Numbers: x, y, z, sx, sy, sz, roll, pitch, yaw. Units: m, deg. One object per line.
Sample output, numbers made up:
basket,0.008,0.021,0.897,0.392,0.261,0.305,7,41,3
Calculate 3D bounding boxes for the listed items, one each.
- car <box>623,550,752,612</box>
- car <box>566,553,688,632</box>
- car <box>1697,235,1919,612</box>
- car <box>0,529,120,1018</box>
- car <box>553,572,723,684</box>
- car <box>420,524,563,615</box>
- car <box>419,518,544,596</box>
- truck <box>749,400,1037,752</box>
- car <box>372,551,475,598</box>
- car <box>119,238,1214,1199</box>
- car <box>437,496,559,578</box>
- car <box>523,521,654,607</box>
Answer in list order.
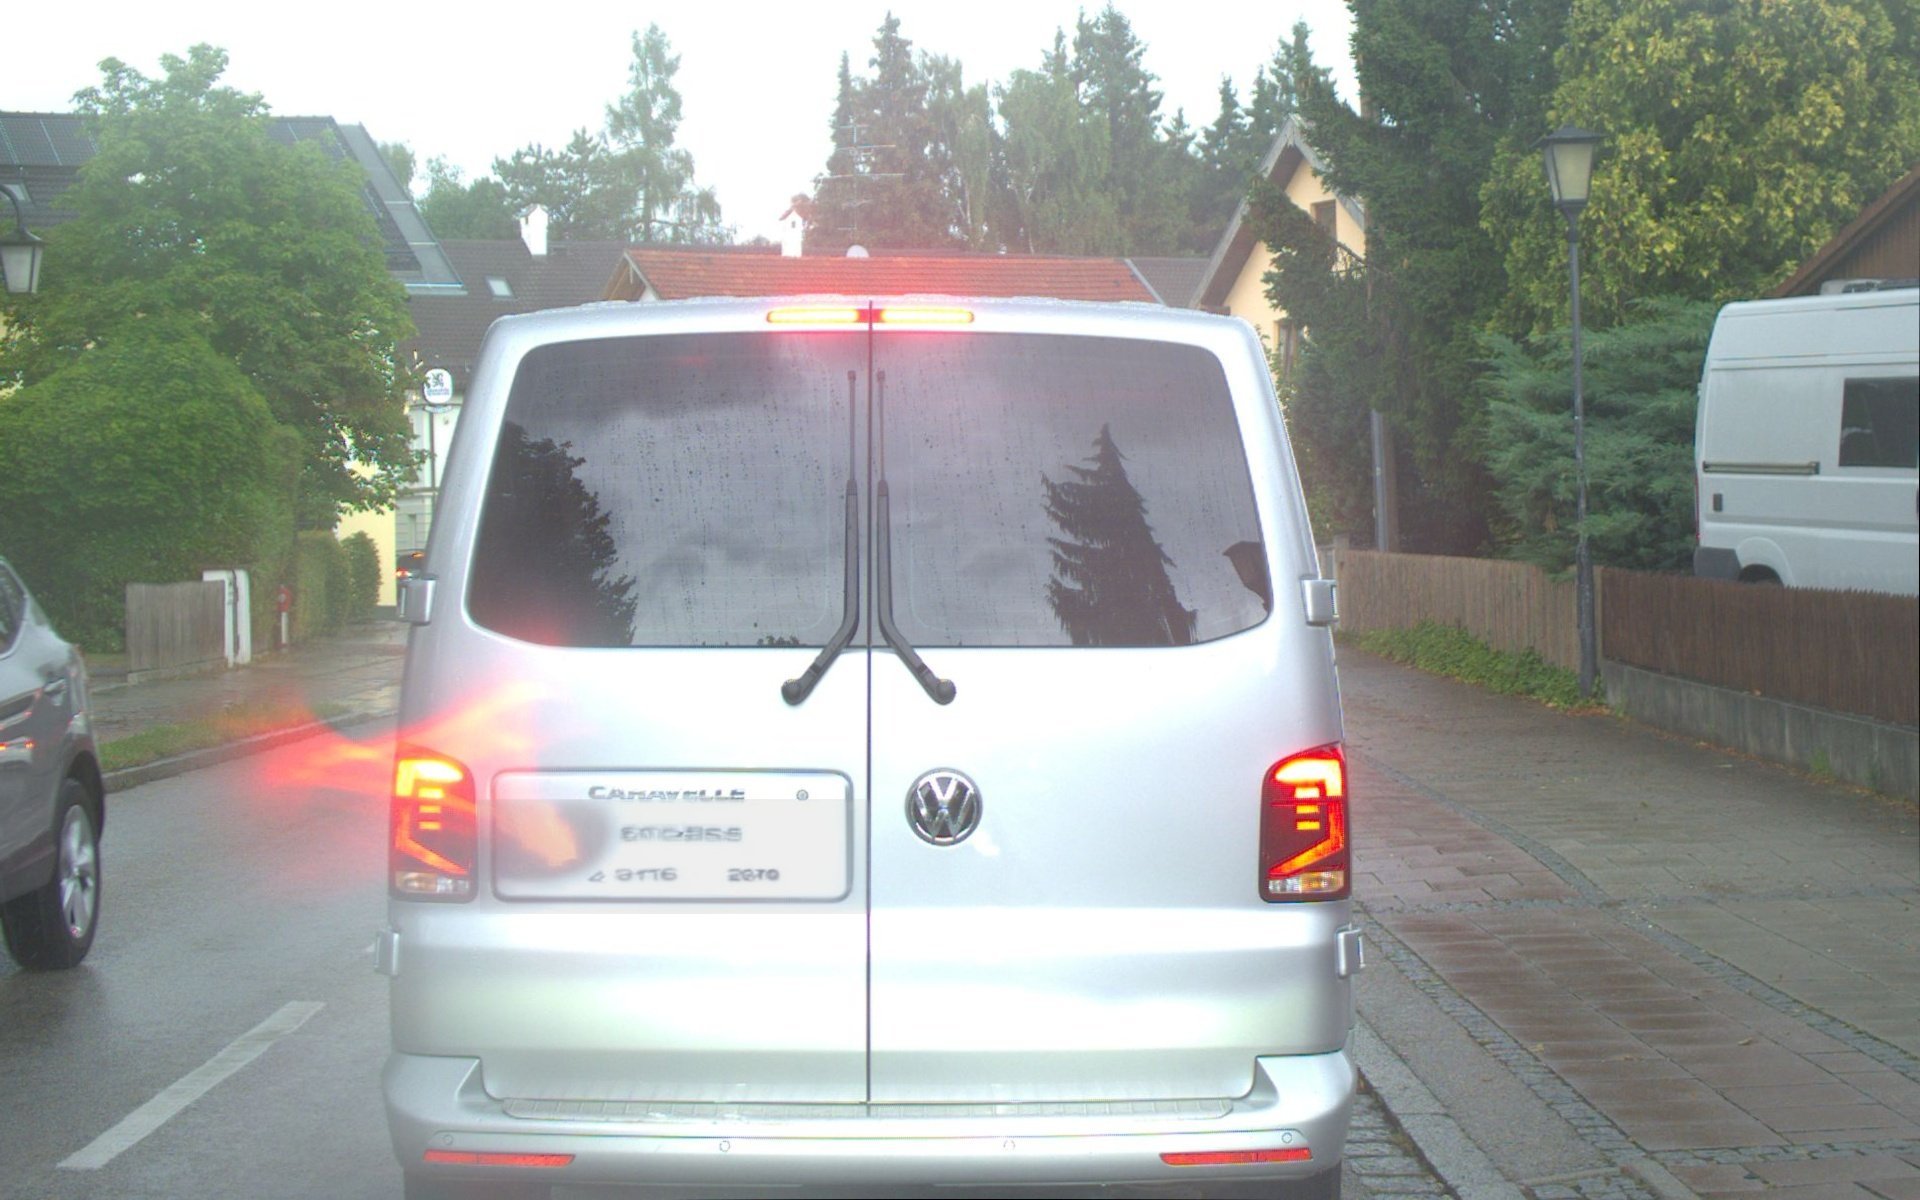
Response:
car,-6.092,-0.424,76.508,1.779,1.306,3.777,1,0,-22
car,-5.809,-0.136,60.290,1.780,1.306,3.776,1,0,-1
car,6.383,-0.994,20.227,1.993,2.166,4.954,1,0,-14
car,-3.965,0.562,10.442,1.827,1.553,4.177,-1,0,-1
car,-3.994,0.332,43.133,1.780,1.306,3.776,1,0,-1
car,-10.849,-0.710,79.402,1.993,2.007,4.001,1,0,-27
car,-12.330,-1.097,88.457,1.993,1.920,4.001,1,0,-26
truck,-0.646,-0.222,33.566,2.475,3.063,6.296,1,0,-1
car,-15.532,-0.746,99.383,1.780,1.306,3.776,1,0,-28
car,-0.436,0.411,7.746,1.801,2.007,4.000,1,0,2
car,-11.949,-1.617,88.685,1.993,2.007,4.001,1,0,-25
car,-9.032,-0.872,83.328,1.993,2.007,4.001,1,0,-24
